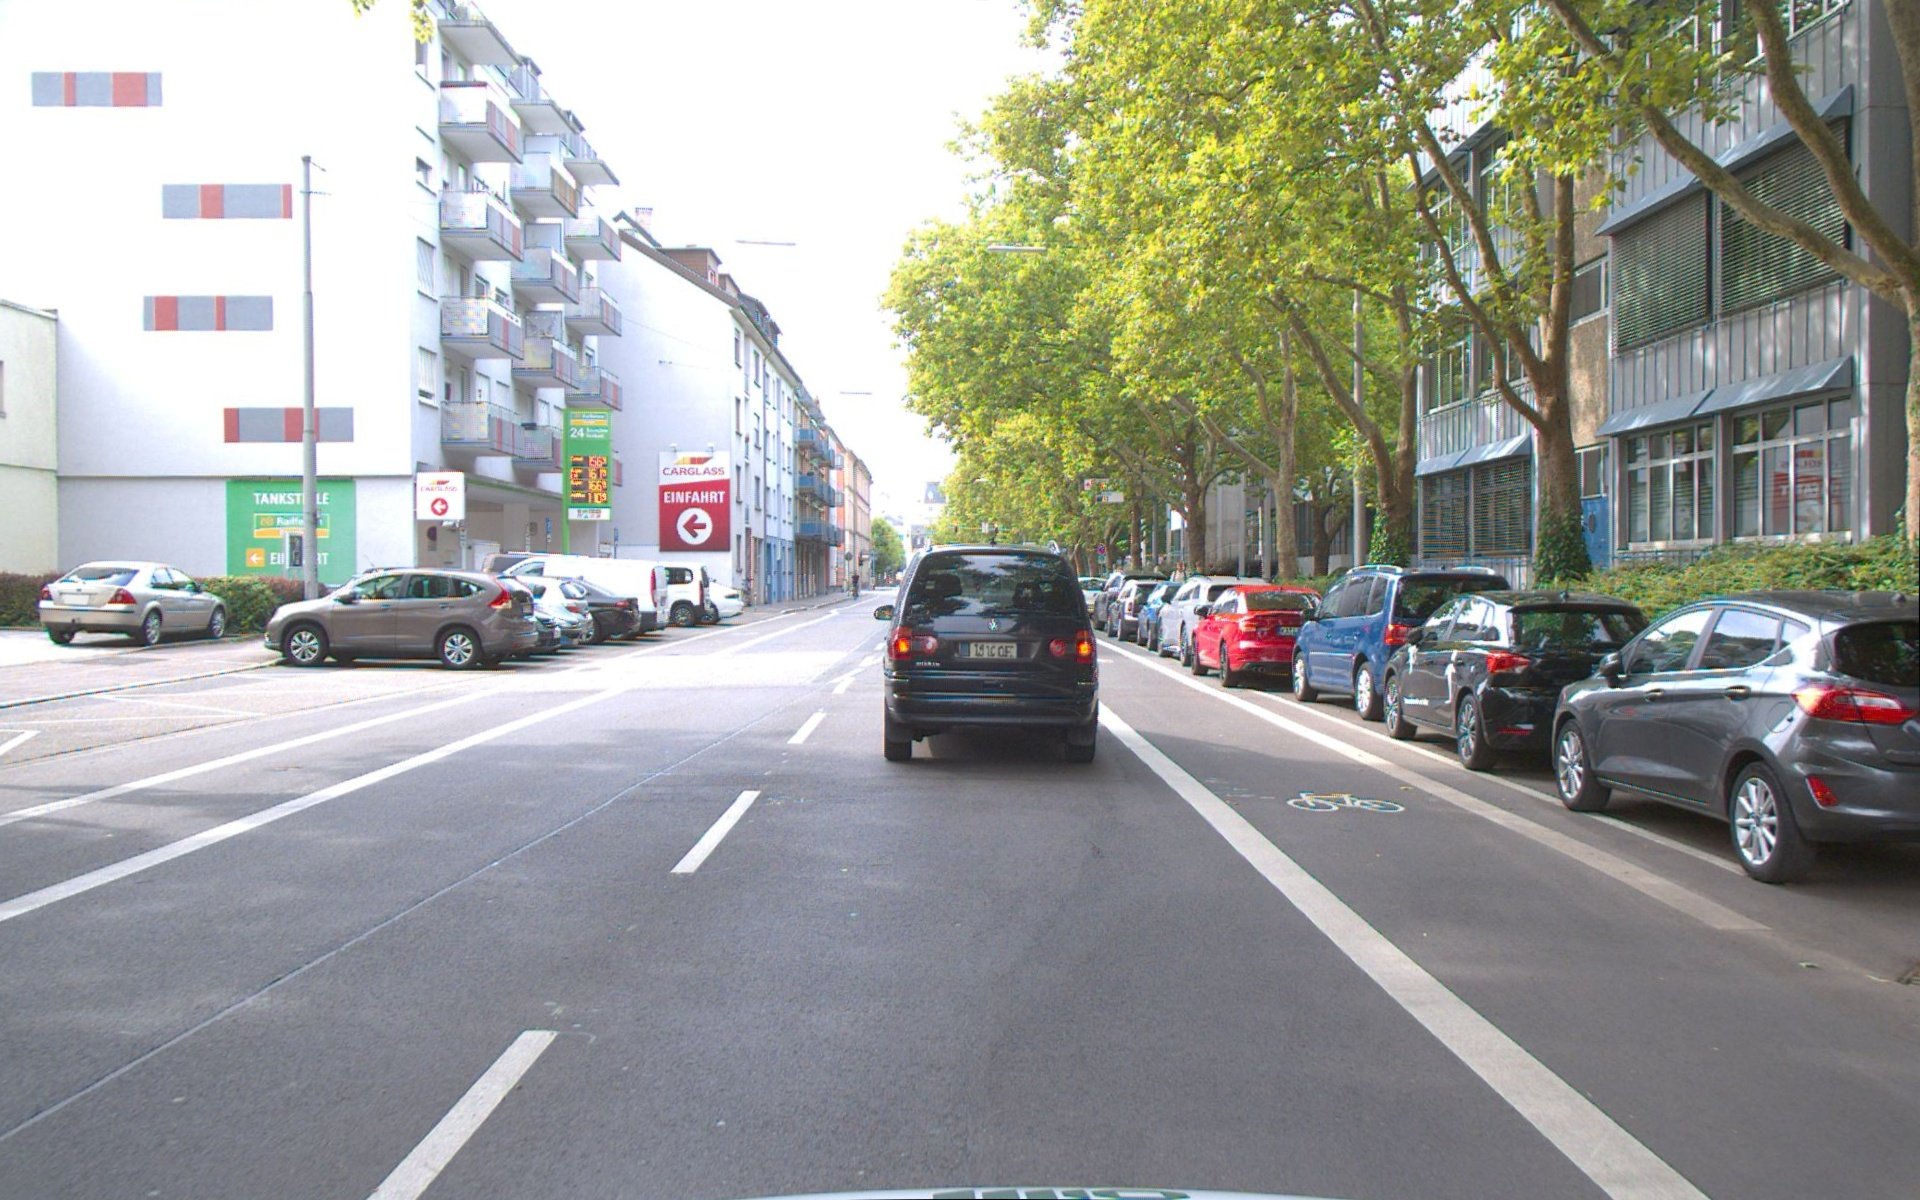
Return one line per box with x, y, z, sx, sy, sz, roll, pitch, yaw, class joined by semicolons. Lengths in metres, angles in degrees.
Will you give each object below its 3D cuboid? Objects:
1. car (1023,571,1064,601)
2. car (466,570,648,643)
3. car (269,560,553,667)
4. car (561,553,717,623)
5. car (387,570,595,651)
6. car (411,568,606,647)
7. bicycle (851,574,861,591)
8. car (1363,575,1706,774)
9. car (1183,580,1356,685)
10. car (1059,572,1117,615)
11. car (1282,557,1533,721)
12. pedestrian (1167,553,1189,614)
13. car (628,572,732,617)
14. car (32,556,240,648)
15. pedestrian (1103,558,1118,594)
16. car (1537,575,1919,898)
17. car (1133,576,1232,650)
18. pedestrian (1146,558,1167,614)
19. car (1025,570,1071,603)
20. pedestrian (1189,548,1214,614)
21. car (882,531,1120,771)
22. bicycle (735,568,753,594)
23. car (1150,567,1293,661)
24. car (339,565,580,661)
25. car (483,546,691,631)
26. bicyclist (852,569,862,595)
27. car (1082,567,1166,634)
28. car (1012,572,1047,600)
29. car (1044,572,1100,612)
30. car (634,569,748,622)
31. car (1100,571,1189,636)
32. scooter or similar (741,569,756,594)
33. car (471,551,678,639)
4.035;-0.690;80.451;1.609;1.419;3.510;-1;1;-4;car
-8.964;0.136;37.010;3.607;1.469;1.753;2;1;-1;car
-9.293;0.196;28.241;4.169;1.633;1.968;1;2;0;car
-9.444;-0.367;48.871;4.220;1.902;1.823;2;1;-2;car
-9.262;0.194;32.862;3.607;1.451;1.753;2;1;-2;car
-9.477;0.137;34.914;3.607;1.511;1.753;2;1;-2;car
-6.884;-1.157;109.782;0.618;1.052;2.014;1;-2;-3;bicycle
4.898;0.543;14.683;1.624;1.446;3.947;-1;2;-1;car
4.495;0.411;24.616;1.642;1.418;4.460;0;1;-1;car
4.505;-0.248;58.660;1.641;1.418;4.461;2;1;0;car
5.133;0.352;19.582;1.624;1.679;4.419;-1;2;-2;car
6.846;-0.521;51.974;0.575;1.870;0.692;1;2;1;pedestrian
-9.474;-0.206;56.046;3.276;1.426;1.503;1;0;-2;car
-15.088;-0.012;30.557;1.722;1.545;4.234;1;1;0;car
7.668;-1.223;84.378;0.751;1.863;0.516;0;1;0;pedestrian
4.923;0.619;9.786;1.624;1.446;3.866;-1;2;-1;car
4.715;0.233;35.434;1.588;1.410;4.001;2;1;1;car
6.178;-0.435;51.928;0.575;1.731;0.508;1;2;0;pedestrian
3.943;-0.626;74.630;1.609;1.438;3.413;2;1;-4;car
7.551;-0.596;51.739;0.629;2.009;0.692;1;2;1;pedestrian
0.270;0.361;14.322;1.775;1.797;3.737;1;1;-1;car
-9.144;-0.818;69.974;0.618;1.052;2.014;1;1;-4;bicycle
4.615;0.199;29.851;1.693;1.543;4.870;1;1;-1;car
-9.191;0.209;30.579;3.859;1.597;1.754;2;1;2;car
-9.449;-0.295;42.216;4.816;1.936;2.000;2;1;-1;car
-6.834;-1.193;109.934;0.640;1.639;0.655;1;-2;-3;bicyclist
4.431;-0.034;45.301;1.635;1.669;4.502;2;1;-2;car
3.946;-0.827;94.662;1.609;1.513;3.510;-1;1;-4;car
4.244;-0.318;63.085;1.609;1.438;3.413;2;1;-4;car
-8.296;-0.151;51.264;3.276;1.523;1.595;1;0;-2;car
4.451;0.052;40.380;1.597;1.495;4.316;0;1;-1;car
-9.256;-0.811;72.459;0.619;1.052;2.013;-1;1;-6;scooter or similar
-9.169;-0.136;39.611;4.433;1.911;2.047;2;1;0;car
